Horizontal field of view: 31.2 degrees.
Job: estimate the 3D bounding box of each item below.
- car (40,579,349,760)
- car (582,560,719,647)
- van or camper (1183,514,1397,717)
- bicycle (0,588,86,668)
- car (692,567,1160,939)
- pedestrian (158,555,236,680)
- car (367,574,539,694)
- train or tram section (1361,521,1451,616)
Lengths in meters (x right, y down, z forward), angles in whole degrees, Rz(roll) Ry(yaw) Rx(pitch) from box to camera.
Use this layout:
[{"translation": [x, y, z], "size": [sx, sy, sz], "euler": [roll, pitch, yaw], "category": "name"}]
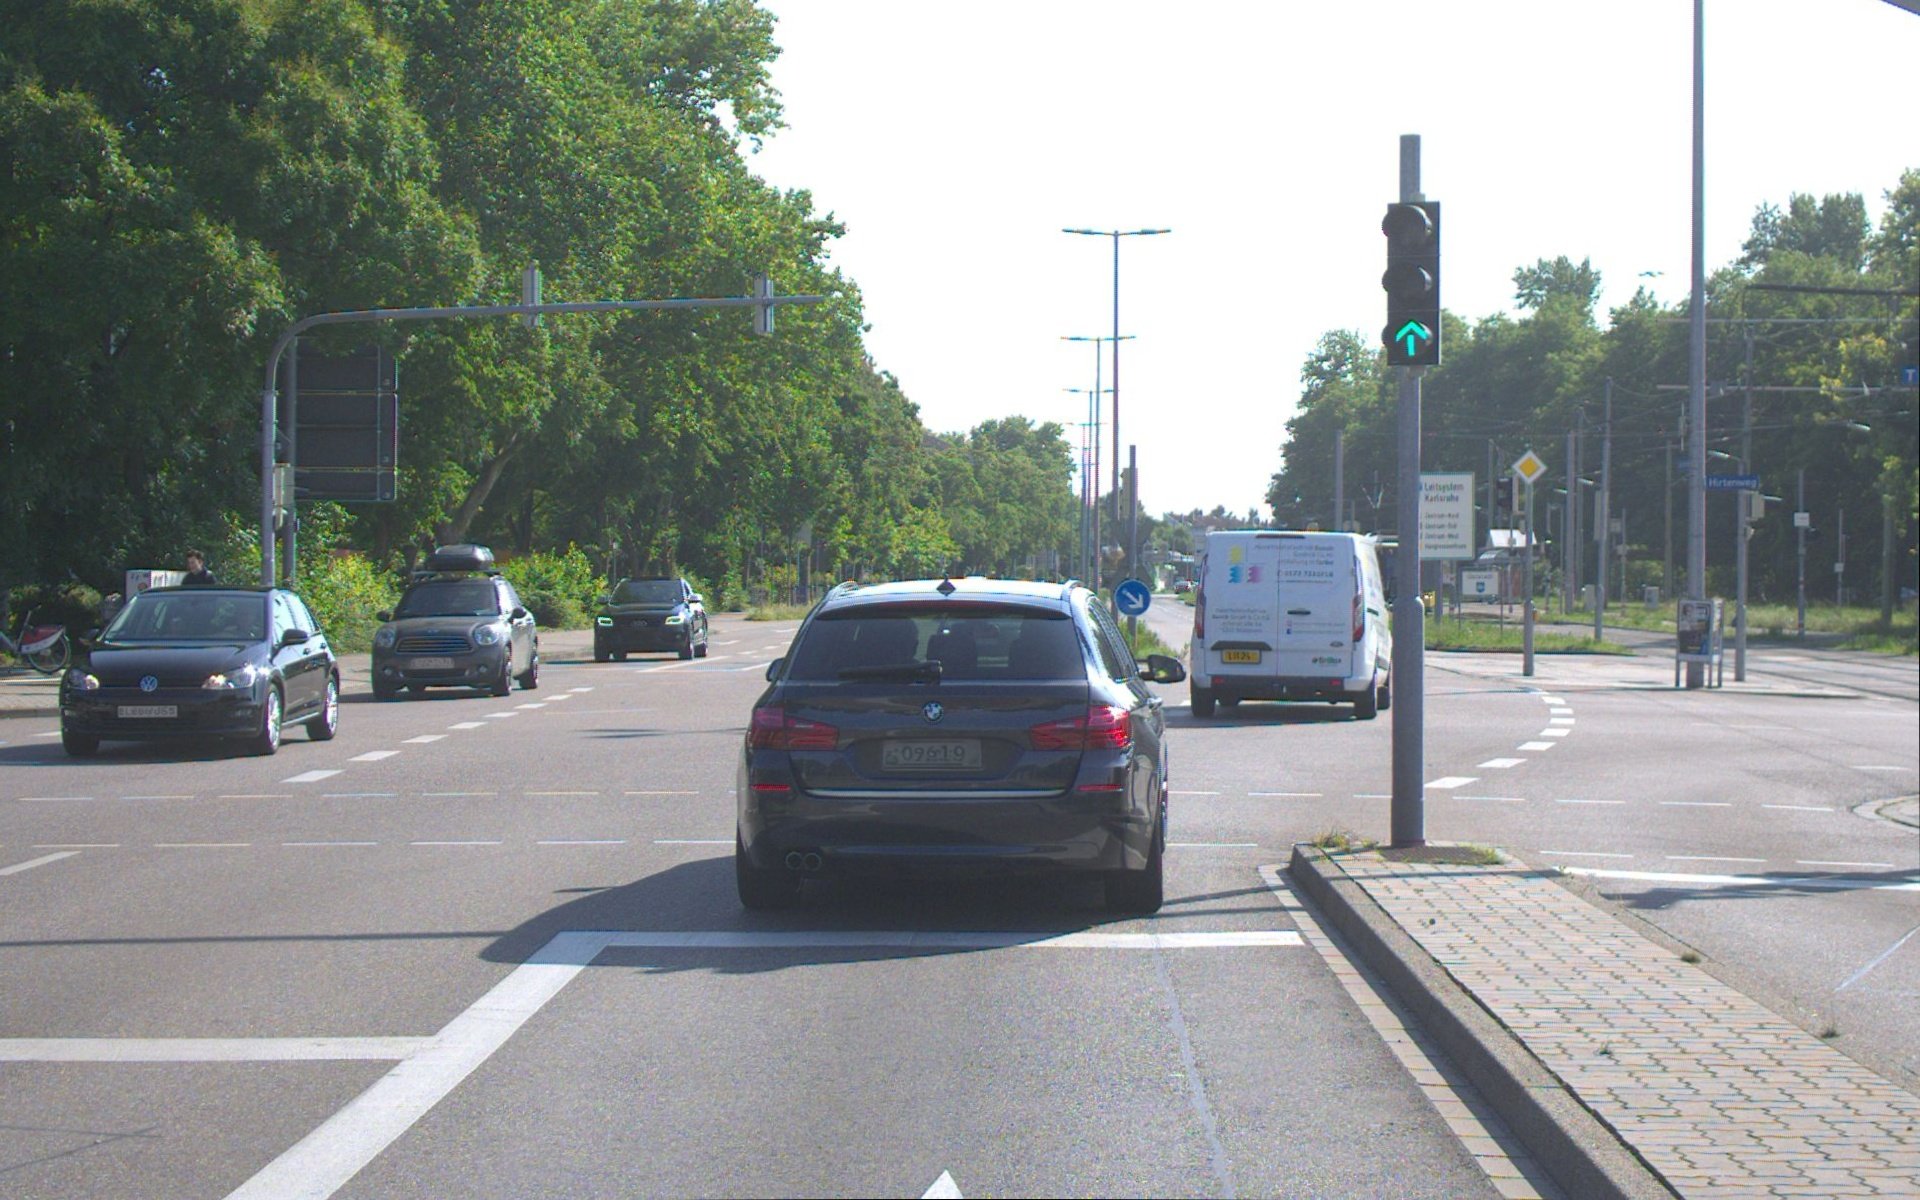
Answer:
[{"translation": [-6.632, 0.556, 30.198], "size": [1.888, 1.469, 4.100], "euler": [0, 0, -1], "category": "car"}, {"translation": [-6.076, 0.046, 68.006], "size": [1.989, 1.653, 4.384], "euler": [0, 0, 4], "category": "car"}, {"translation": [3.699, 0.138, 37.876], "size": [1.994, 2.089, 4.596], "euler": [1, 0, 10], "category": "van or camper"}, {"translation": [-13.418, 0.386, 48.722], "size": [1.909, 1.115, 0.632], "euler": [0, 0, 1], "category": "bicycle"}, {"translation": [-0.025, 0.609, 16.113], "size": [1.903, 1.500, 4.064], "euler": [0, 0, 3], "category": "car"}, {"translation": [-10.858, 0.239, 48.919], "size": [0.816, 1.746, 0.931], "euler": [1, 1, 6], "category": "pedestrian"}, {"translation": [-6.710, 0.414, 45.818], "size": [1.788, 1.515, 4.000], "euler": [0, 0, -1], "category": "car"}, {"translation": [17.970, -1.206, 139.209], "size": [2.796, 3.606, 12.953], "euler": [1, 0, 4], "category": "train or tram section"}]
